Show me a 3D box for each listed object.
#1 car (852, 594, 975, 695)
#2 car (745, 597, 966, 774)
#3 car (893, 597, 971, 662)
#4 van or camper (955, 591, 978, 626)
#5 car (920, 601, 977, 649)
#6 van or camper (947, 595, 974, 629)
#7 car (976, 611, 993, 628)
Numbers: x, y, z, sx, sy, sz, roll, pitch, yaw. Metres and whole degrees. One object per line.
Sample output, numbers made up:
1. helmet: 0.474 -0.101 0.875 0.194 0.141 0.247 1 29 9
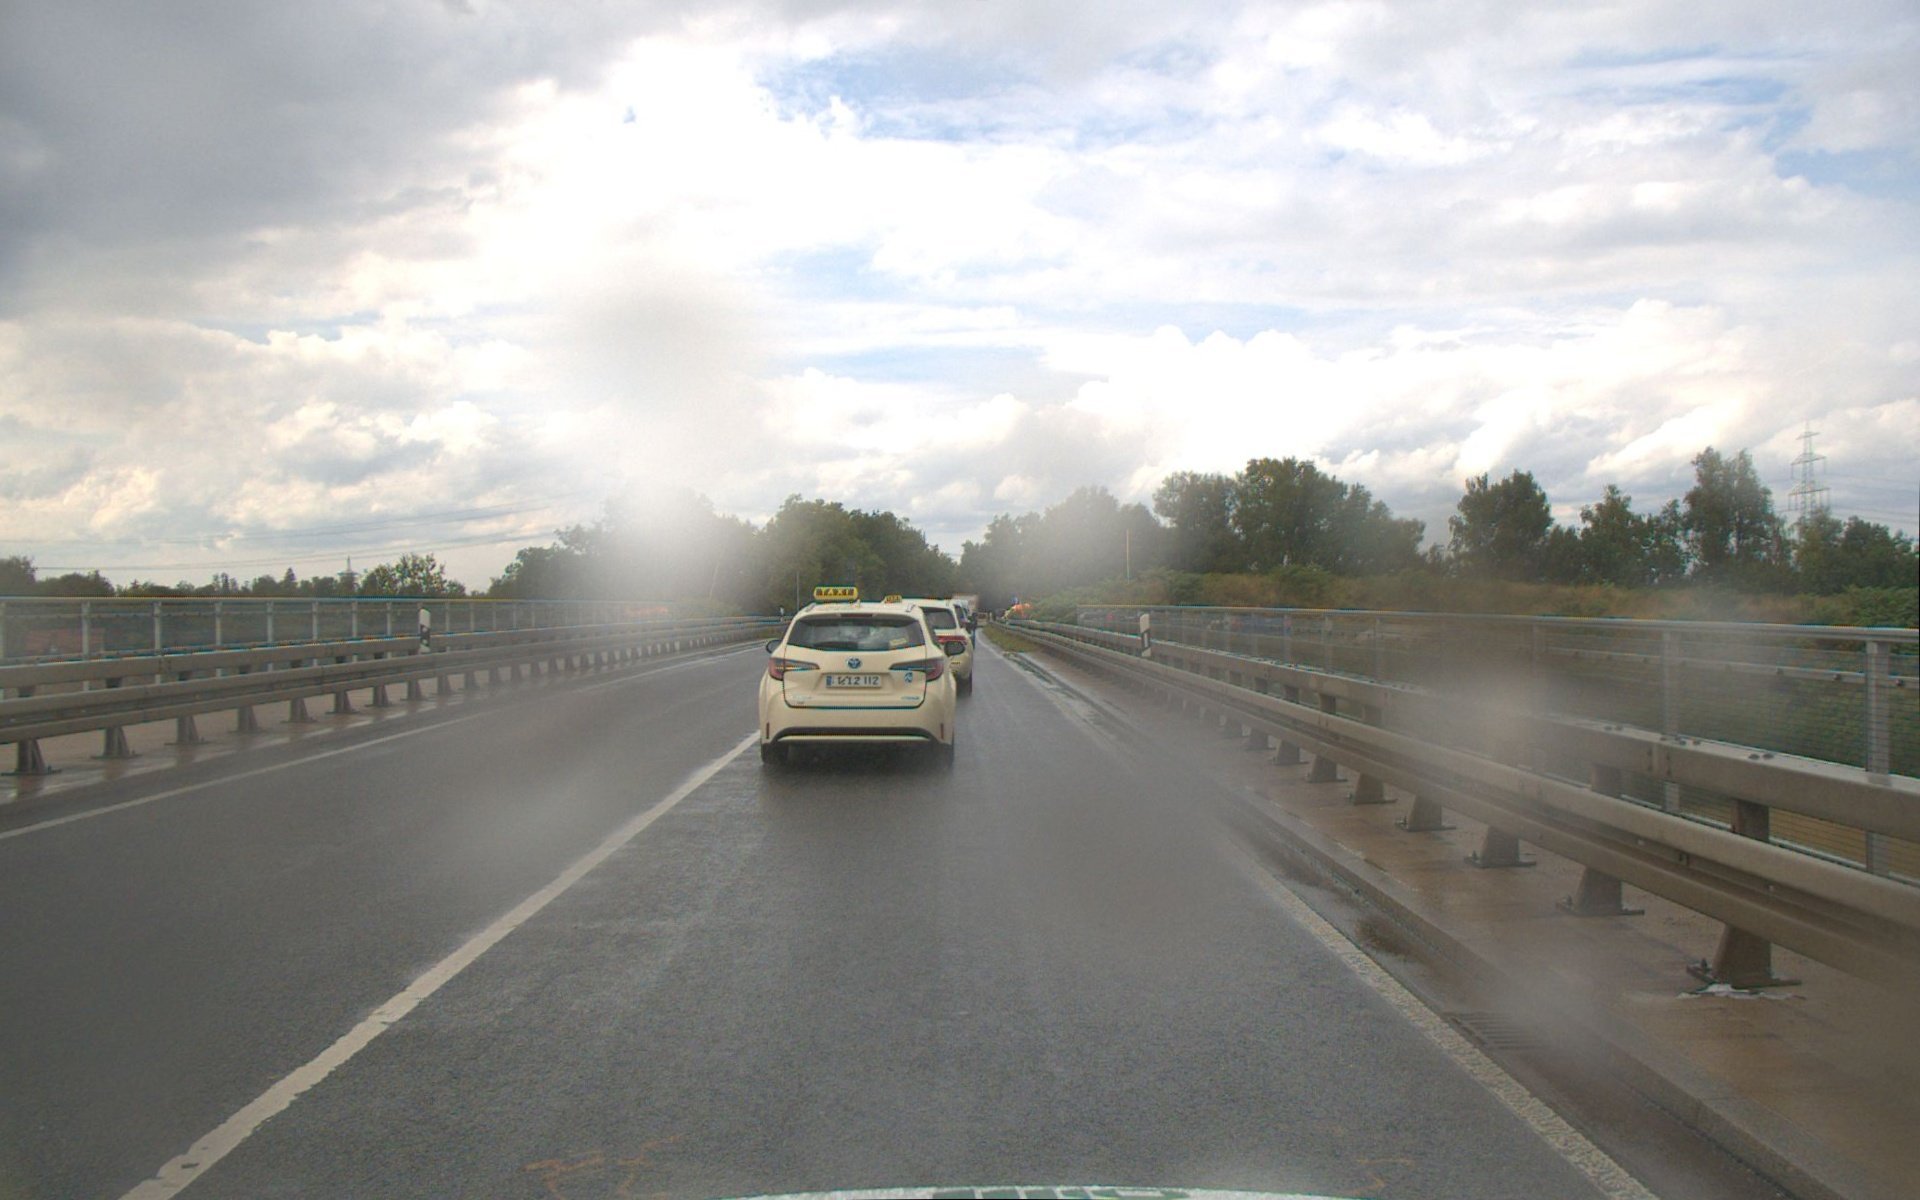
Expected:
1. car: -0.727 0.658 26.887 1.816 1.468 4.170 1 0 -1
2. car: -0.899 0.710 15.885 1.816 1.418 4.170 1 0 -1
3. car: -0.689 0.694 41.425 1.816 1.468 4.170 1 0 -1
4. van or camper: 0.709 0.870 174.555 2.285 3.625 6.305 1 0 -1
5. car: -0.399 0.818 55.330 1.816 1.468 4.170 1 0 -1
6. van or camper: 0.047 1.066 147.820 2.285 2.914 6.305 1 0 -1
7. car: 3.040 2.439 205.732 1.953 2.049 3.999 1 0 -1
